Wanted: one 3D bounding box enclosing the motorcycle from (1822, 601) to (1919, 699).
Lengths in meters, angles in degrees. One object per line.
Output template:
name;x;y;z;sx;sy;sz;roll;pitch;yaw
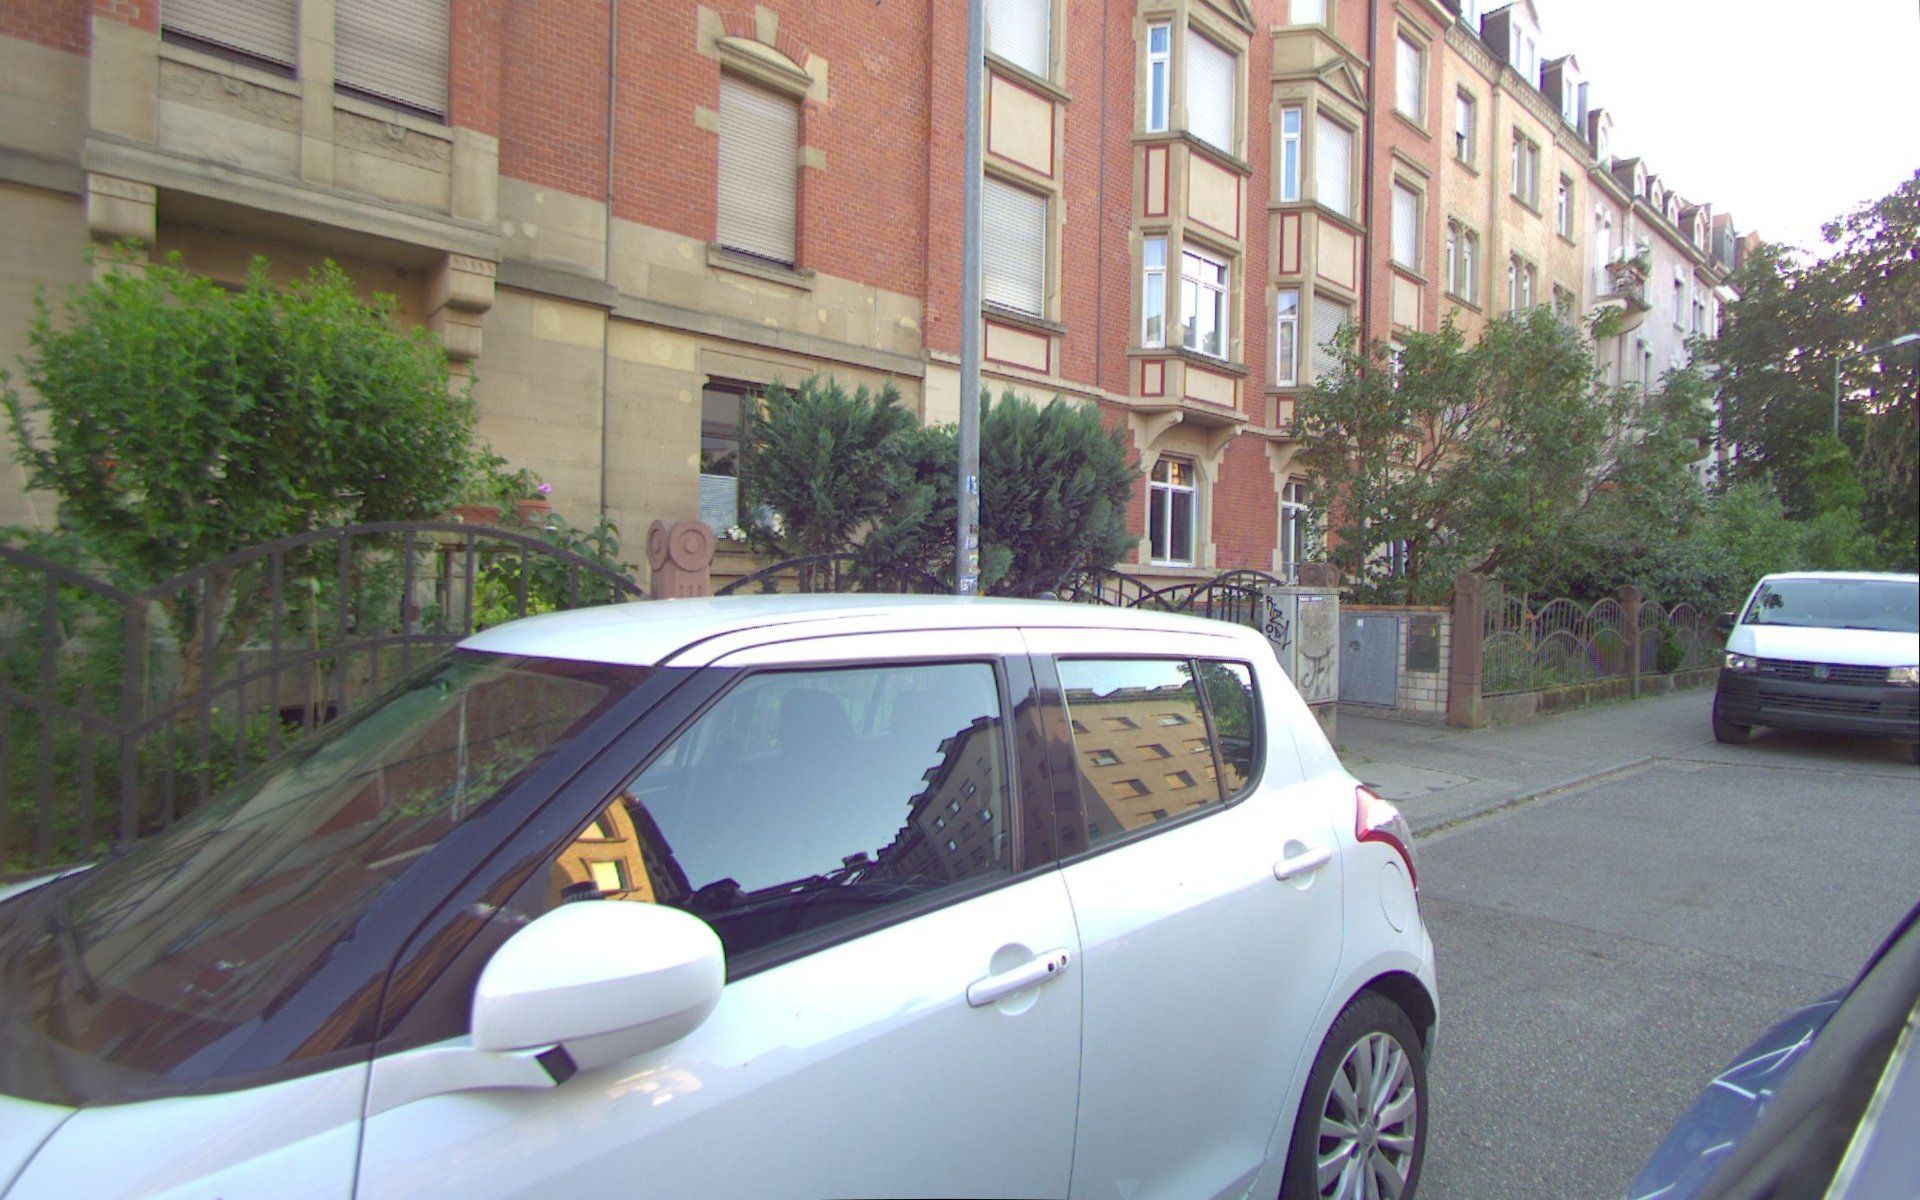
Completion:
motorcycle;15.739;0.830;16.607;2.066;1.500;1.128;3;2;16

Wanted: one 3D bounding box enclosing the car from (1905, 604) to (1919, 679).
car;22.726;0.891;22.586;4.755;1.602;1.760;0;-1;-39

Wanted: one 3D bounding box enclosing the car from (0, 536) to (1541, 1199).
car;-0.482;0.693;2.109;3.791;1.496;1.678;0;0;-39

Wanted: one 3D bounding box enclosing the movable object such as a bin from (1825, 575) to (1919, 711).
movable object such as a bin;14.278;0.614;15.350;2.285;1.901;1.414;0;2;-42

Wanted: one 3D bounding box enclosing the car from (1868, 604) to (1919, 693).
car;18.819;0.872;19.213;4.247;1.571;1.724;0;0;-39

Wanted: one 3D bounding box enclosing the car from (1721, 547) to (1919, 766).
car;10.796;0.527;11.951;5.450;2.064;1.865;0;2;-43
